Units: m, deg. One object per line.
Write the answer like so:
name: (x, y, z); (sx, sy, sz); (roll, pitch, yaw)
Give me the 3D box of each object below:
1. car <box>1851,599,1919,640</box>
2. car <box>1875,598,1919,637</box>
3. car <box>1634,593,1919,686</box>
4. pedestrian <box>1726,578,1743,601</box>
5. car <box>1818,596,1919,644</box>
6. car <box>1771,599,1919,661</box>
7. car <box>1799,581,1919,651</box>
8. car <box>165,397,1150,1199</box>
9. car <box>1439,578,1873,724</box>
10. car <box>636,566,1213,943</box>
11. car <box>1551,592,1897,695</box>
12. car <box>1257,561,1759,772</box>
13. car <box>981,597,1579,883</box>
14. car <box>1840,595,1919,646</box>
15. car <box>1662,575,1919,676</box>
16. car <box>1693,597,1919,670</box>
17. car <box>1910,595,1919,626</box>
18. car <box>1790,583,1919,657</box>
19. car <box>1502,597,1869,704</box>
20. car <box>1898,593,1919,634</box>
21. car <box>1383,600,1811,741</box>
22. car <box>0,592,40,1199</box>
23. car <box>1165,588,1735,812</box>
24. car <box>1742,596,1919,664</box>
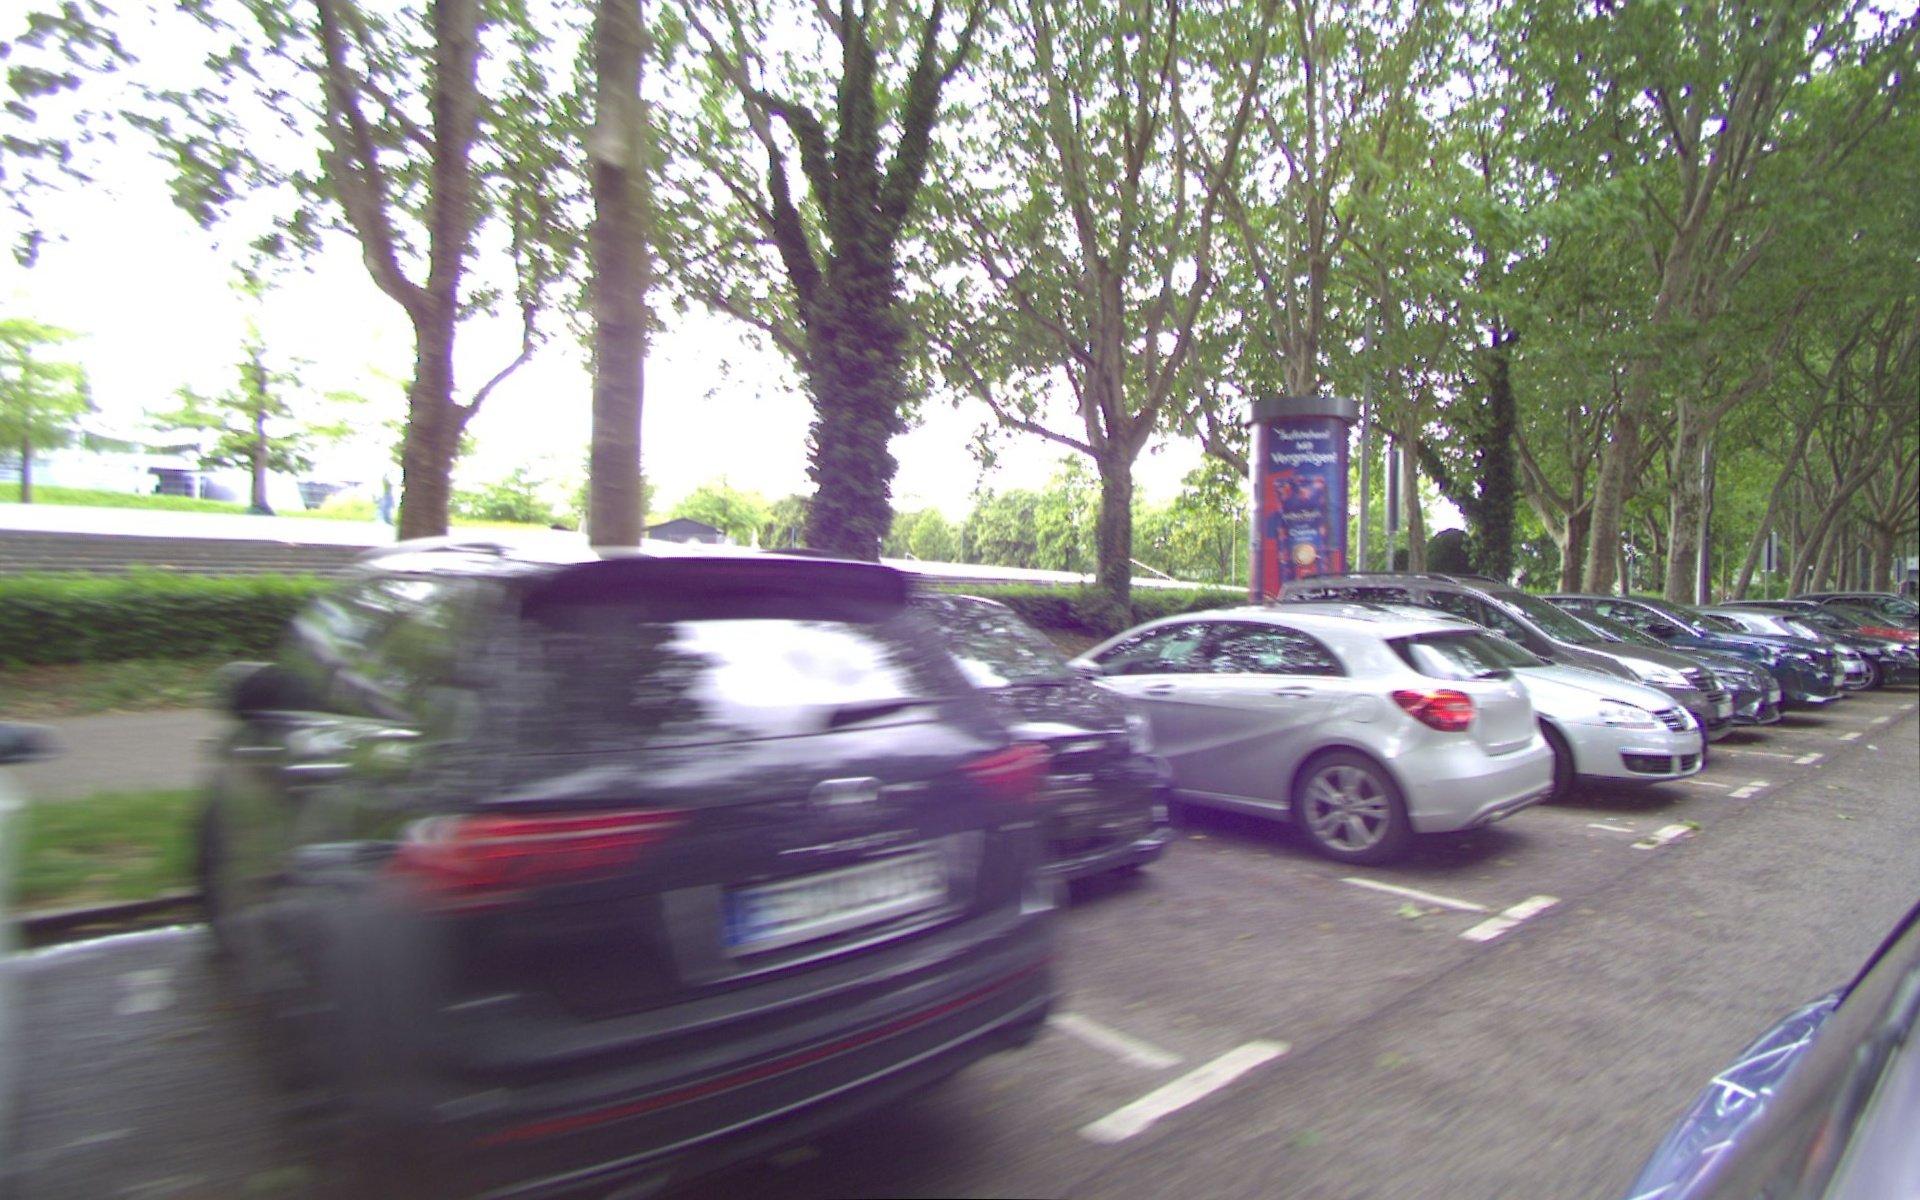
car: (35.072, 0.694, 36.560); (1.755, 1.474, 4.199); (1, -1, -43)
car: (37.260, 0.669, 38.186); (4.016, 1.466, 1.884); (0, -1, 44)
car: (15.203, 0.647, 18.575); (1.890, 1.521, 4.358); (1, 0, -37)
pedestrian: (52.348, -0.718, 68.435); (0.685, 1.587, 0.725); (0, 0, -34)
car: (31.390, 0.660, 33.662); (1.755, 1.538, 4.199); (1, -1, -43)
car: (22.378, 0.692, 24.524); (1.708, 1.408, 3.993); (0, 0, -38)
car: (26.320, 0.436, 27.970); (2.010, 1.890, 4.506); (1, -1, -38)
car: (-1.624, 0.528, 3.798); (1.892, 1.783, 4.353); (0, 1, -41)
car: (9.294, 0.589, 13.904); (1.838, 1.660, 4.602); (1, -1, -38)
car: (-0.433, 0.600, 6.069); (1.651, 1.510, 3.441); (0, 2, -41)
car: (12.853, 0.646, 17.328); (1.888, 1.521, 4.361); (1, 0, -33)
car: (5.558, 0.559, 10.734); (1.805, 1.768, 4.352); (1, -1, -42)
car: (1.995, 0.712, 7.018); (1.637, 1.445, 3.643); (1, -1, -43)
car: (30.116, 0.627, 31.283); (1.754, 1.538, 4.202); (0, -1, -40)
car: (17.050, 0.470, 20.270); (2.009, 1.819, 4.508); (1, -1, -36)
car: (18.669, 0.662, 21.663); (1.796, 1.438, 4.505); (0, 0, -38)
car: (46.706, 0.528, 46.231); (1.686, 1.435, 4.600); (1, 0, -37)
car: (24.239, 0.491, 25.792); (2.011, 1.819, 4.503); (1, -1, -40)
car: (11.181, 0.685, 15.871); (1.891, 1.431, 4.355); (1, -1, -40)
car: (41.222, 0.574, 41.002); (2.017, 1.644, 4.533); (1, 0, -40)
car: (7.446, 0.706, 12.175); (1.712, 1.397, 4.048); (1, -1, -40)
car: (-3.543, 0.713, 2.411); (1.916, 1.474, 4.352); (1, -1, -42)
car: (3.974, 0.654, 8.821); (1.696, 1.476, 4.157); (0, 0, -40)
car: (20.679, 0.632, 22.847); (1.898, 1.446, 4.504); (0, 0, -39)
